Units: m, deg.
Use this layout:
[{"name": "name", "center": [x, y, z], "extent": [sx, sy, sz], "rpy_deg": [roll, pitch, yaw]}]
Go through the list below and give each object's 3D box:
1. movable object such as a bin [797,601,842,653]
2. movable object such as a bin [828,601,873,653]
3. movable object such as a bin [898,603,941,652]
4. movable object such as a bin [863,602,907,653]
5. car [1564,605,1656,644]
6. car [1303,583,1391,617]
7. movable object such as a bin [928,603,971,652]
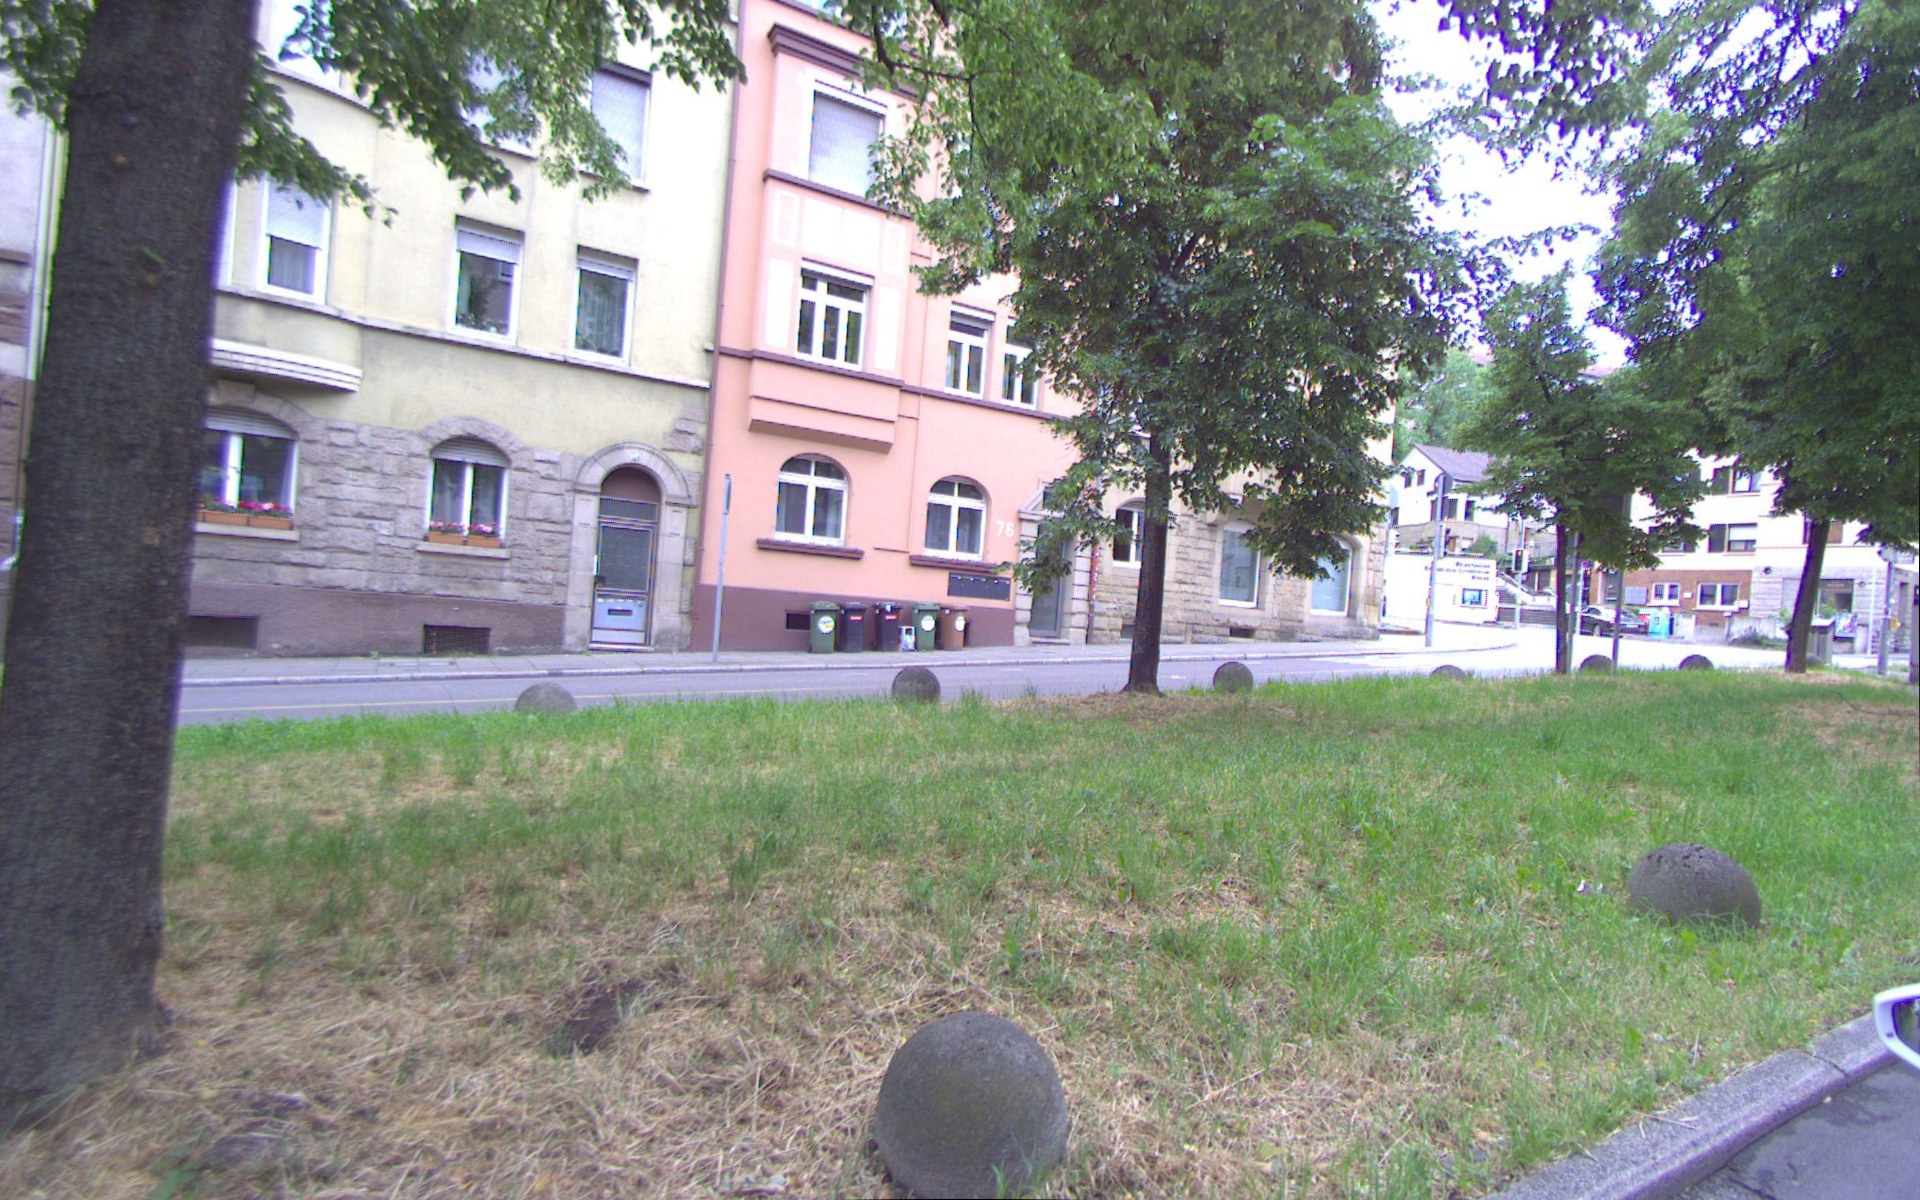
[{"name": "movable object such as a bin", "center": [-2.597, 0.490, 18.561], "extent": [0.595, 0.916, 0.605], "rpy_deg": [1, 2, -34]}, {"name": "movable object such as a bin", "center": [-2.058, 0.505, 18.884], "extent": [0.595, 0.916, 0.605], "rpy_deg": [1, 2, -34]}, {"name": "movable object such as a bin", "center": [-0.797, 0.529, 19.655], "extent": [0.595, 0.916, 0.605], "rpy_deg": [1, 2, -34]}, {"name": "movable object such as a bin", "center": [-1.432, 0.519, 19.222], "extent": [0.595, 0.916, 0.605], "rpy_deg": [1, 2, -34]}, {"name": "car", "center": [30.473, 1.121, 47.220], "extent": [1.845, 1.687, 4.001], "rpy_deg": [3, 0, 4]}, {"name": "car", "center": [19.296, -0.025, 50.218], "extent": [3.920, 1.530, 1.800], "rpy_deg": [2, 1, 17]}, {"name": "movable object such as a bin", "center": [-0.202, 0.546, 19.984], "extent": [0.595, 0.916, 0.605], "rpy_deg": [1, 2, -34]}]
